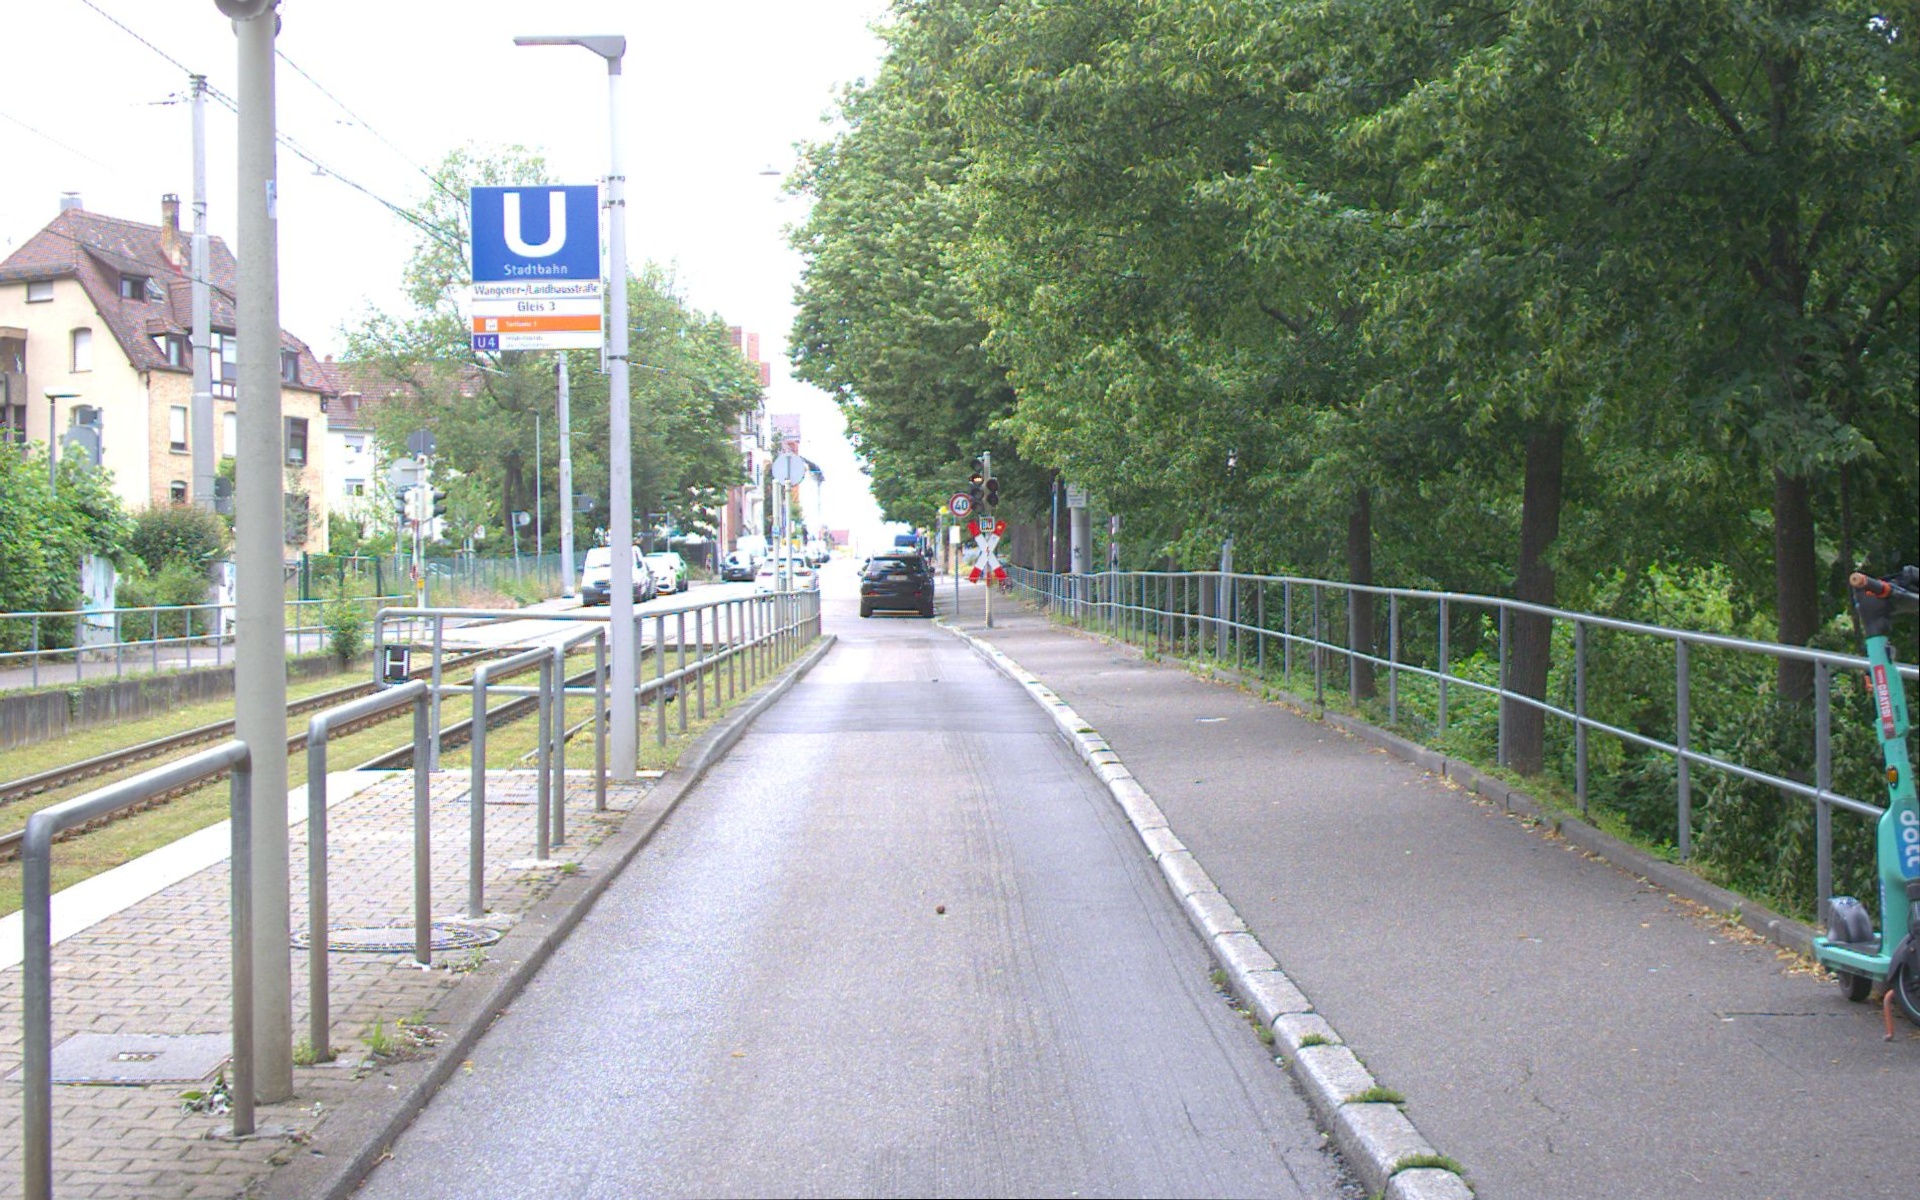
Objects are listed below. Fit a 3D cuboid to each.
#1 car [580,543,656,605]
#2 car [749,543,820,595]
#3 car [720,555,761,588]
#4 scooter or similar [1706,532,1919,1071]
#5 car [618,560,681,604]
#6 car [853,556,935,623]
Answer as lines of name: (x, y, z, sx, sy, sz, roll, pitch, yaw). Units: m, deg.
car: (-11.122, -0.829, 111.967, 2.035, 1.875, 4.885, -3, 0, -2)
car: (-5.365, -0.944, 105.655, 1.993, 1.493, 4.312, 1, 0, -1)
car: (-12.250, -1.593, 192.210, 1.993, 1.802, 4.000, 0, 0, 1)
scooter or similar: (2.456, 0.517, 9.525, 0.430, 1.380, 1.455, 0, 0, -1)
car: (-11.398, -0.664, 126.376, 1.885, 1.521, 4.663, -2, 0, -1)
car: (-1.640, -0.287, 86.424, 1.904, 1.609, 4.600, 1, 1, 1)
